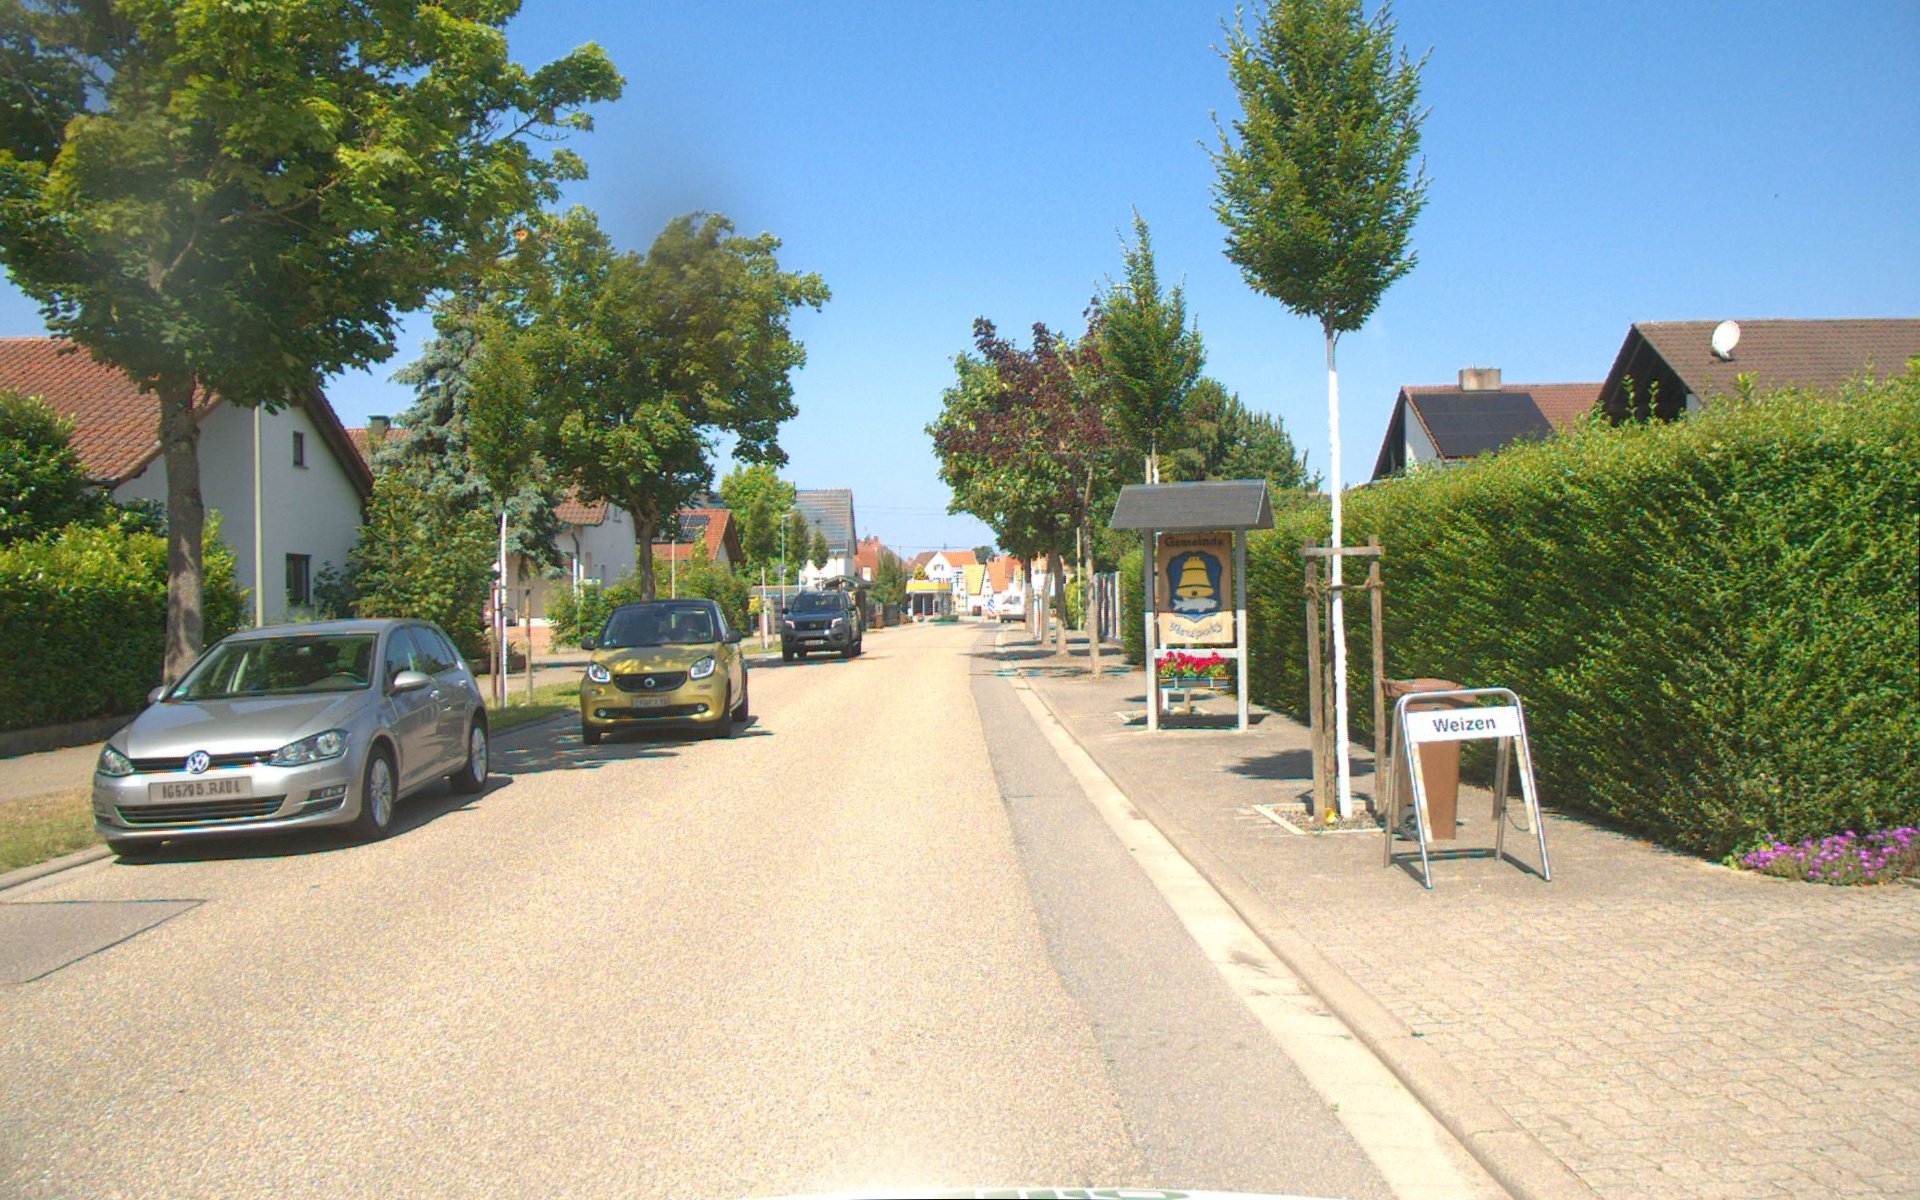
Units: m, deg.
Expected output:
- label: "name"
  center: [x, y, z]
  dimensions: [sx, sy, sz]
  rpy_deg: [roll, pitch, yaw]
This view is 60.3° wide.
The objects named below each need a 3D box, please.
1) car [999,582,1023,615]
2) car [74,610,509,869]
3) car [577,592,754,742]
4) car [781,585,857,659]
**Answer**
- label: "car"
  center: [4.063, -0.122, 131.183]
  dimensions: [1.701, 2.474, 4.376]
  rpy_deg: [-2, 0, 3]
- label: "car"
  center: [-4.613, 0.854, 12.091]
  dimensions: [1.614, 1.448, 4.078]
  rpy_deg: [-3, 0, -3]
- label: "car"
  center: [-3.385, 0.724, 19.544]
  dimensions: [1.633, 1.550, 3.439]
  rpy_deg: [-2, 0, -4]
- label: "car"
  center: [-3.732, 0.549, 44.266]
  dimensions: [1.799, 1.783, 3.794]
  rpy_deg: [-3, 0, -3]
